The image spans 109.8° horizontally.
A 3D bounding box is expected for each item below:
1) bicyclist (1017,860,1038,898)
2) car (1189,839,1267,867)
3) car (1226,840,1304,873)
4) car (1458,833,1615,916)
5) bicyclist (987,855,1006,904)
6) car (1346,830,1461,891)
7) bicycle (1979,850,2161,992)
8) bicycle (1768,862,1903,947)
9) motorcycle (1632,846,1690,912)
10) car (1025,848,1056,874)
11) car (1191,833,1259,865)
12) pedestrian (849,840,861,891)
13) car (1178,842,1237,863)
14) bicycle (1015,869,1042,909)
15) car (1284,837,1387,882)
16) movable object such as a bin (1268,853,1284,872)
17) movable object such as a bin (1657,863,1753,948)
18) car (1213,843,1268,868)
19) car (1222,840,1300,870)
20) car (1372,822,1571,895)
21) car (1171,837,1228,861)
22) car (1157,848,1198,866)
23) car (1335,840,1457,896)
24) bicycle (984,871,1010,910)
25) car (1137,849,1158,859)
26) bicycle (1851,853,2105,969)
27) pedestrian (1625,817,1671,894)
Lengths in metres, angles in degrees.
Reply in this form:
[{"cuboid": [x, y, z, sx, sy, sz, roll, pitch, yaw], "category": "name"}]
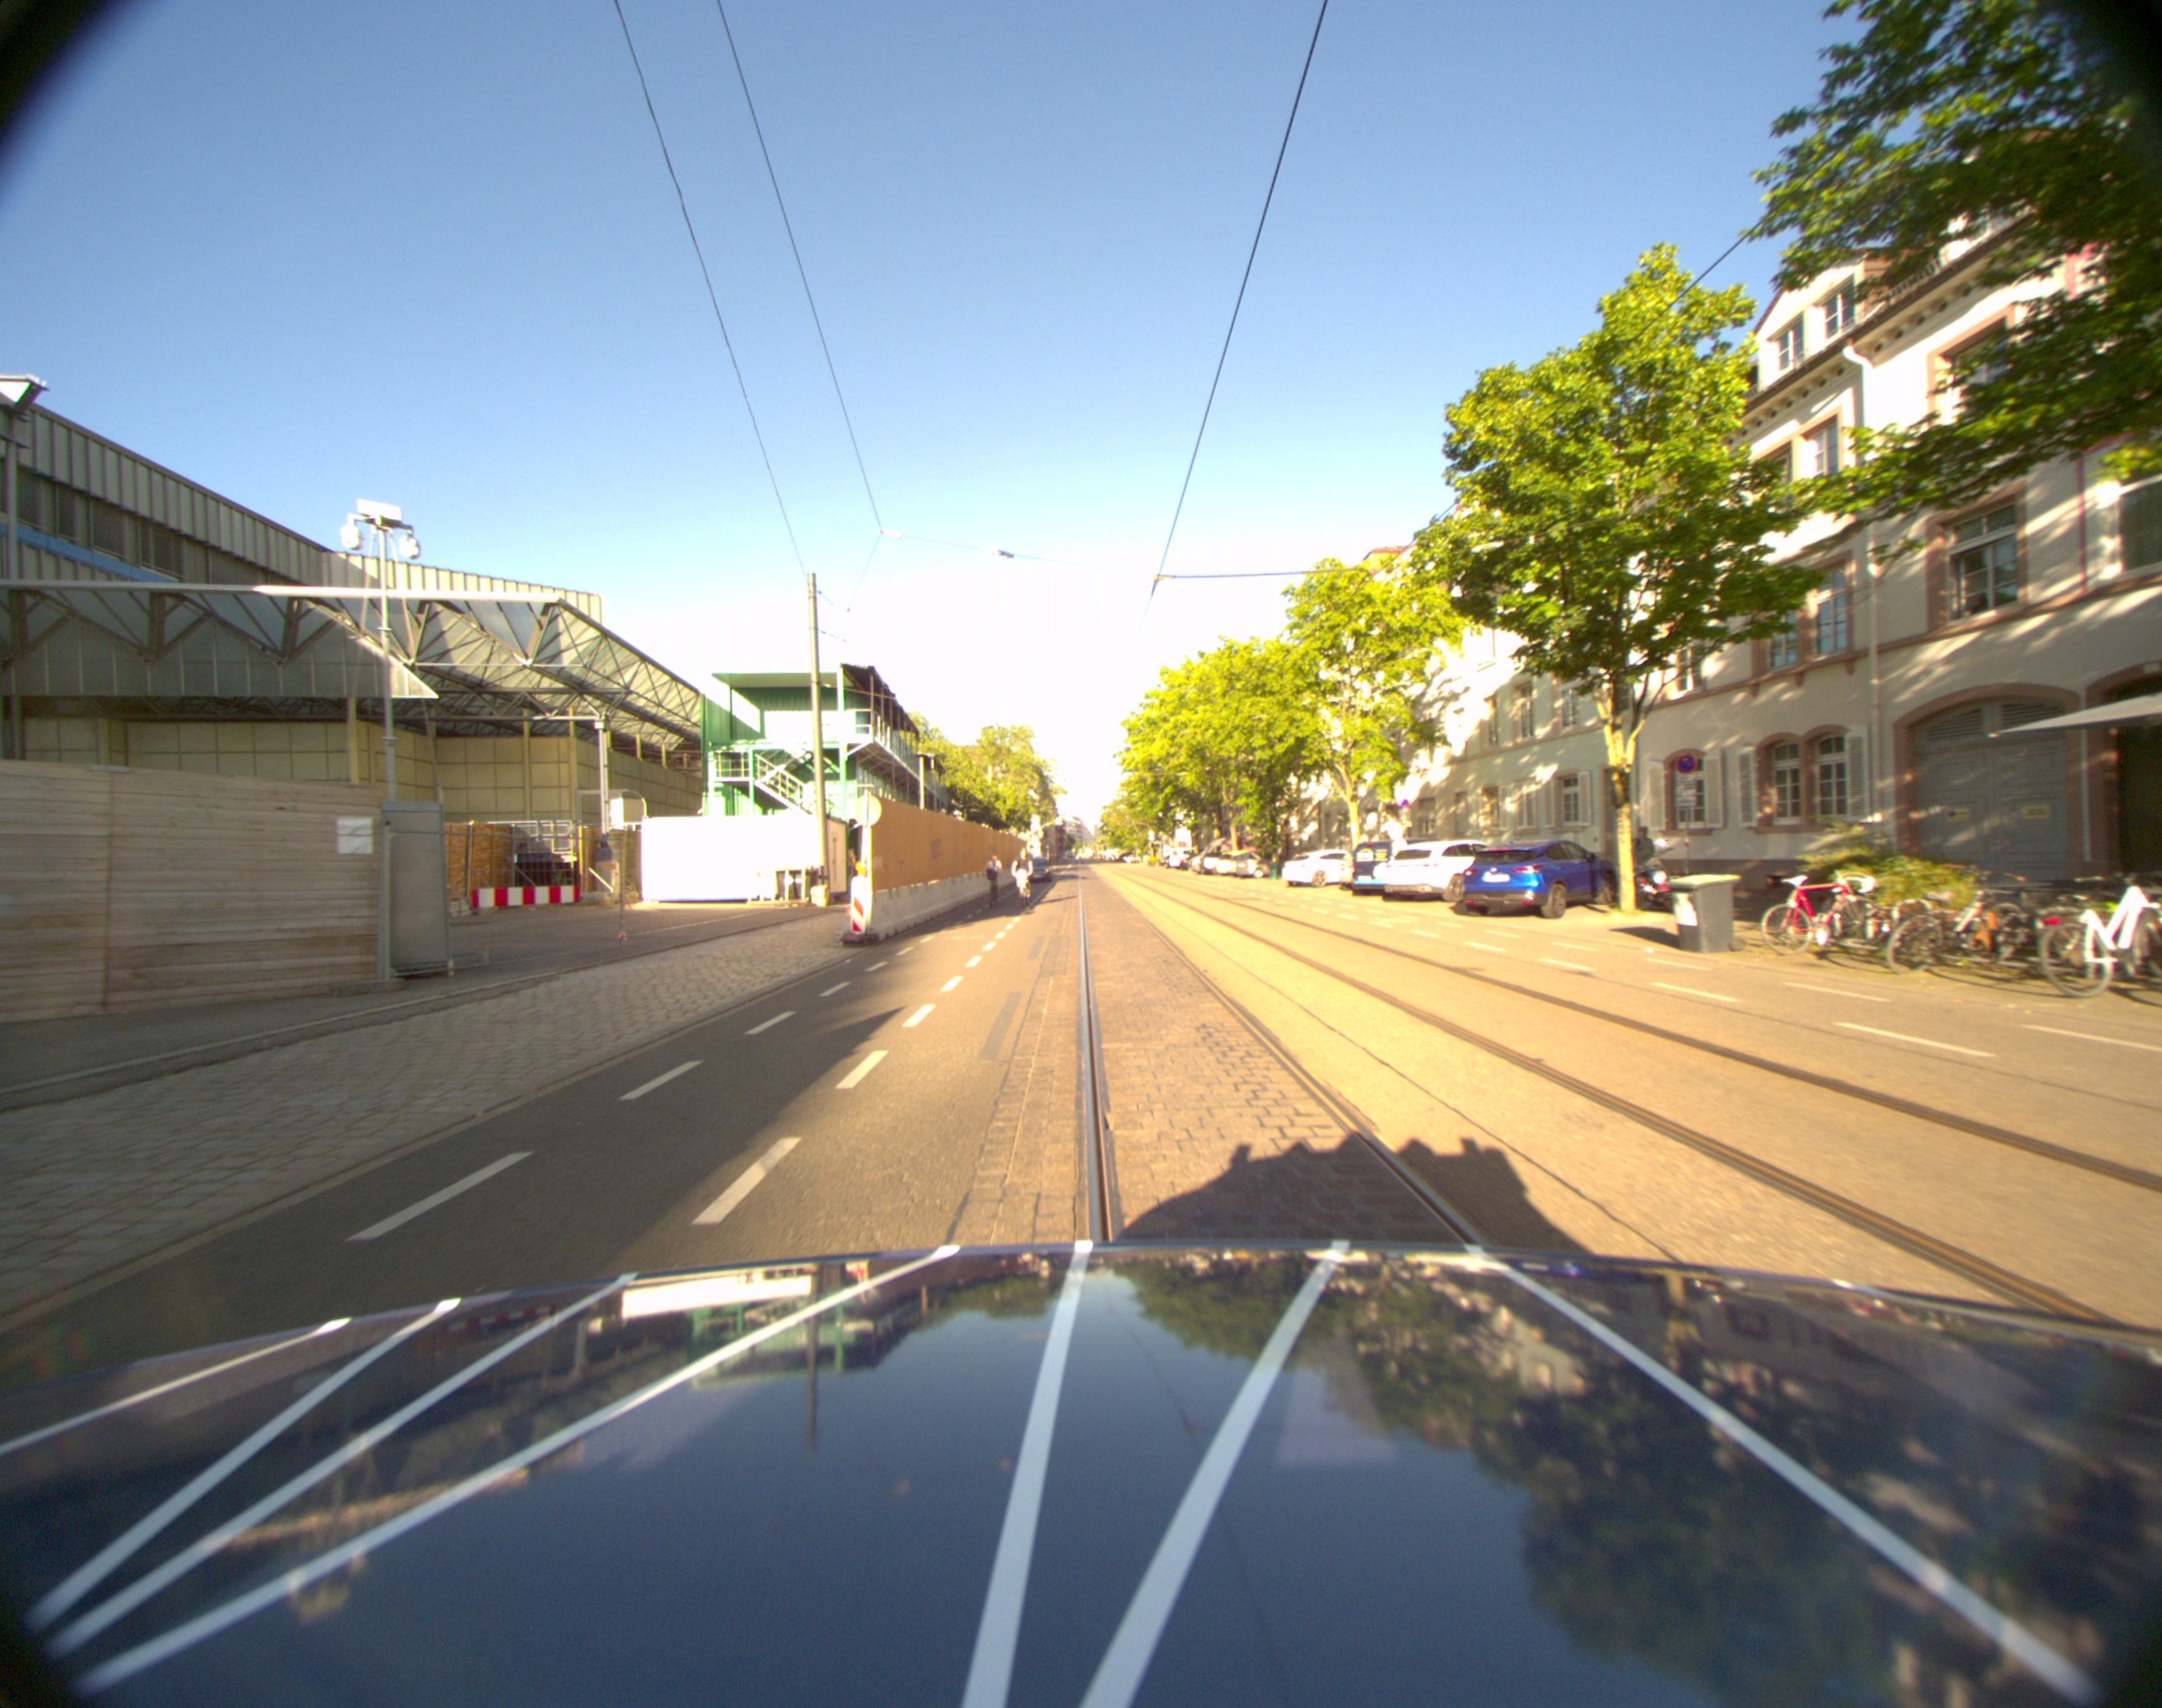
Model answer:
[{"cuboid": [-1.744, 0.830, 25.004, 0.653, 1.230, 0.353, -1, 1, -2], "category": "bicyclist"}, {"cuboid": [10.114, -0.047, 52.475, 4.842, 1.714, 2.163, -2, 1, -2], "category": "car"}, {"cuboid": [10.479, 0.114, 43.245, 4.003, 1.667, 1.700, -3, 1, -20], "category": "car"}, {"cuboid": [10.143, 0.387, 16.838, 3.909, 1.599, 1.569, -2, 1, -36], "category": "car"}, {"cuboid": [-2.779, 0.828, 24.956, 0.557, 1.604, 0.576, -1, 1, -2], "category": "bicyclist"}, {"cuboid": [10.499, 0.177, 24.726, 3.451, 1.832, 1.729, -2, 1, -32], "category": "car"}, {"cuboid": [9.669, 0.578, 6.983, 2.007, 1.081, 0.567, -6, 1, 3], "category": "bicycle"}, {"cuboid": [9.918, 0.643, 9.992, 1.605, 0.982, 0.388, -4, 1, -10], "category": "bicycle"}, {"cuboid": [11.891, 0.466, 15.644, 0.724, 1.246, 2.605, -1, 1, 33], "category": "motorcycle"}, {"cuboid": [-2.652, 0.459, 50.657, 1.750, 1.612, 4.170, -2, -1, 0], "category": "car"}, {"cuboid": [10.421, -0.369, 55.325, 4.448, 2.106, 2.163, -2, 1, -2], "category": "car"}, {"cuboid": [-9.104, 0.463, 30.626, 0.307, 2.034, 0.352, -2, 1, -6], "category": "pedestrian"}, {"cuboid": [11.176, -0.118, 67.384, 4.708, 1.567, 1.953, -3, 0, -4], "category": "car"}, {"cuboid": [-1.709, 1.124, 24.848, 0.669, 1.148, 2.275, -3, 1, 0], "category": "bicycle"}, {"cuboid": [10.628, 0.194, 31.782, 3.650, 1.521, 1.883, -5, 2, -19], "category": "car"}, {"cuboid": [10.269, 0.446, 40.002, 0.623, 0.939, 0.670, 0, 1, -1], "category": "movable object such as a bin"}, {"cuboid": [8.646, 0.702, 10.552, 0.685, 1.071, 0.710, -5, 1, 1], "category": "movable object such as a bin"}, {"cuboid": [10.382, 0.093, 49.352, 3.380, 1.544, 1.381, -2, 1, -30], "category": "car"}, {"cuboid": [10.890, 0.049, 46.006, 4.174, 1.543, 1.700, -4, 1, -16], "category": "car"}, {"cuboid": [11.075, 0.088, 21.578, 4.944, 1.784, 2.205, -2, 1, -19], "category": "car"}, {"cuboid": [11.135, -0.474, 71.340, 4.946, 2.002, 2.071, -2, 1, -23], "category": "car"}, {"cuboid": [10.120, 0.307, 79.625, 4.005, 1.549, 1.777, -4, 2, -30], "category": "car"}, {"cuboid": [11.370, 0.491, 27.399, 4.004, 1.647, 1.807, -5, 0, -28], "category": "car"}, {"cuboid": [-2.765, 1.179, 25.133, 0.558, 1.120, 2.275, -2, 1, 0], "category": "bicycle"}, {"cuboid": [10.798, -0.048, 123.768, 3.336, 1.446, 1.496, -3, 2, 7], "category": "car"}, {"cuboid": [9.761, 0.607, 8.311, 1.972, 1.073, 0.568, -5, 1, 3], "category": "bicycle"}, {"cuboid": [13.874, 0.028, 18.591, 0.645, 1.827, 0.624, -1, 1, 1], "category": "pedestrian"}]
